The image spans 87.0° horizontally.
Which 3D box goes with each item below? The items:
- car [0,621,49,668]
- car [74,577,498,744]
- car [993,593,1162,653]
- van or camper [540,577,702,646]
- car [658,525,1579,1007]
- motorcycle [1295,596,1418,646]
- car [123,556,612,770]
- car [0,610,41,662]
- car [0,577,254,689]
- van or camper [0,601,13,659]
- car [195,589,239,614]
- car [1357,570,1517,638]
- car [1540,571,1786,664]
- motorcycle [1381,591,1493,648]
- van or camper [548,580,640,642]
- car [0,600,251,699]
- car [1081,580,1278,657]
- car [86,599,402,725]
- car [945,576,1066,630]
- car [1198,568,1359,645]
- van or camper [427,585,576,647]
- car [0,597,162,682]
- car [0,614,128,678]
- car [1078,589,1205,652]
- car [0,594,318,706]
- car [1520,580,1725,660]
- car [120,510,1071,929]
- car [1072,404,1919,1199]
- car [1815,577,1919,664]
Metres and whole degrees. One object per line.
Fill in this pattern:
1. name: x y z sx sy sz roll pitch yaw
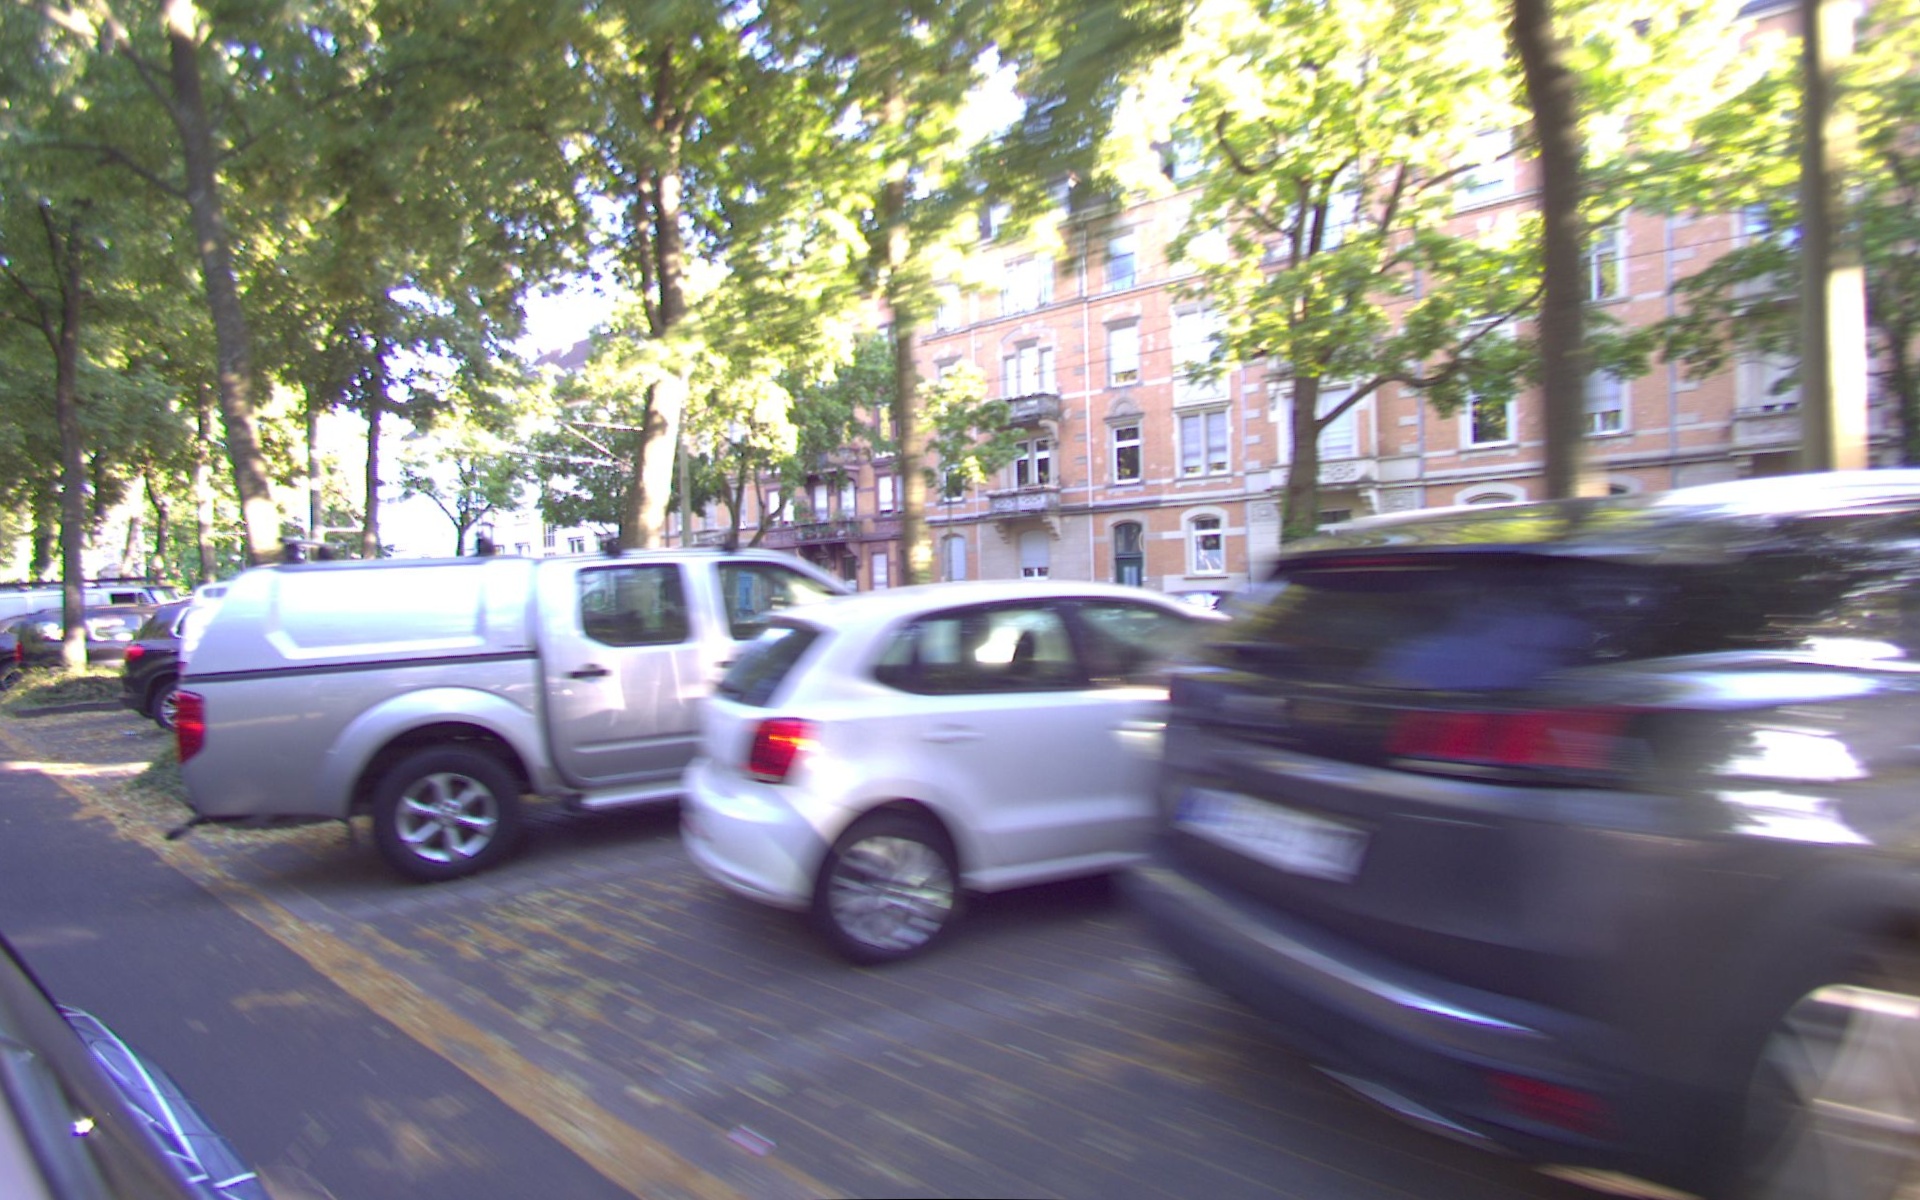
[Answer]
1. car: -33.982 1.632 34.560 3.760 1.449 1.831 -4 2 -16
2. car: -8.387 0.662 13.073 4.090 1.656 1.921 -4 2 -16
3. car: 2.916 0.531 24.931 3.931 1.327 1.599 -1 0 -30
4. van or camper: -12.497 0.404 37.298 5.455 2.389 2.315 -1 -1 -22
5. car: 0.752 0.504 5.007 4.089 1.470 1.777 -4 2 -21
6. motorcycle: 7.654 0.396 19.575 1.944 0.895 1.023 -1 0 -13
7. car: -6.086 0.559 10.958 4.092 1.794 1.889 -4 2 -12
8. car: -40.465 1.600 40.596 4.803 1.992 2.052 -4 2 -21
9. car: -19.655 0.721 23.031 5.420 2.152 2.088 -4 2 -20
10. van or camper: -43.303 1.450 42.337 4.802 2.488 2.052 -4 2 -23
11. car: -64.957 0.148 88.439 3.992 2.029 1.976 -2 -1 36
12. car: 12.751 0.125 27.107 3.504 1.594 1.833 -3 2 39
13. car: 11.924 0.262 17.177 3.674 1.391 1.713 -1 0 -24
14. motorcycle: 8.682 0.341 18.432 1.697 0.962 1.023 -1 0 -29
15. van or camper: -19.461 0.654 53.680 5.508 3.133 2.054 -2 -3 39
16. car: -17.692 0.981 21.084 4.442 1.628 1.941 -5 2 -25
17. car: 4.999 0.381 23.064 3.931 1.590 2.007 -1 -1 -24
18. car: -10.443 0.838 15.077 3.369 1.436 1.840 -4 2 -18
19. car: 1.598 0.165 36.156 4.019 1.796 1.833 -2 -3 39
20. car: 9.346 0.212 29.804 3.995 2.028 1.975 -3 2 39
21. van or camper: -19.313 0.642 42.763 5.579 2.487 2.006 -1 -1 -26
22. car: -24.568 1.071 27.009 4.634 1.957 1.940 -4 2 -17
23. car: -26.790 1.353 28.667 4.494 1.552 1.940 -4 2 -17
24. car: 5.836 0.674 32.676 3.504 1.796 1.833 -3 2 39
25. car: -14.983 0.871 19.067 4.443 1.628 1.860 -4 2 -17
26. car: 15.939 0.489 24.437 3.995 1.789 1.777 -2 -1 38
27. car: -1.975 0.478 6.602 4.916 1.794 1.994 -4 2 -21
28. car: 2.744 0.389 3.061 4.283 1.638 1.948 -4 2 -21
29. car: 20.552 0.403 21.144 3.995 1.789 1.777 -2 -1 38
